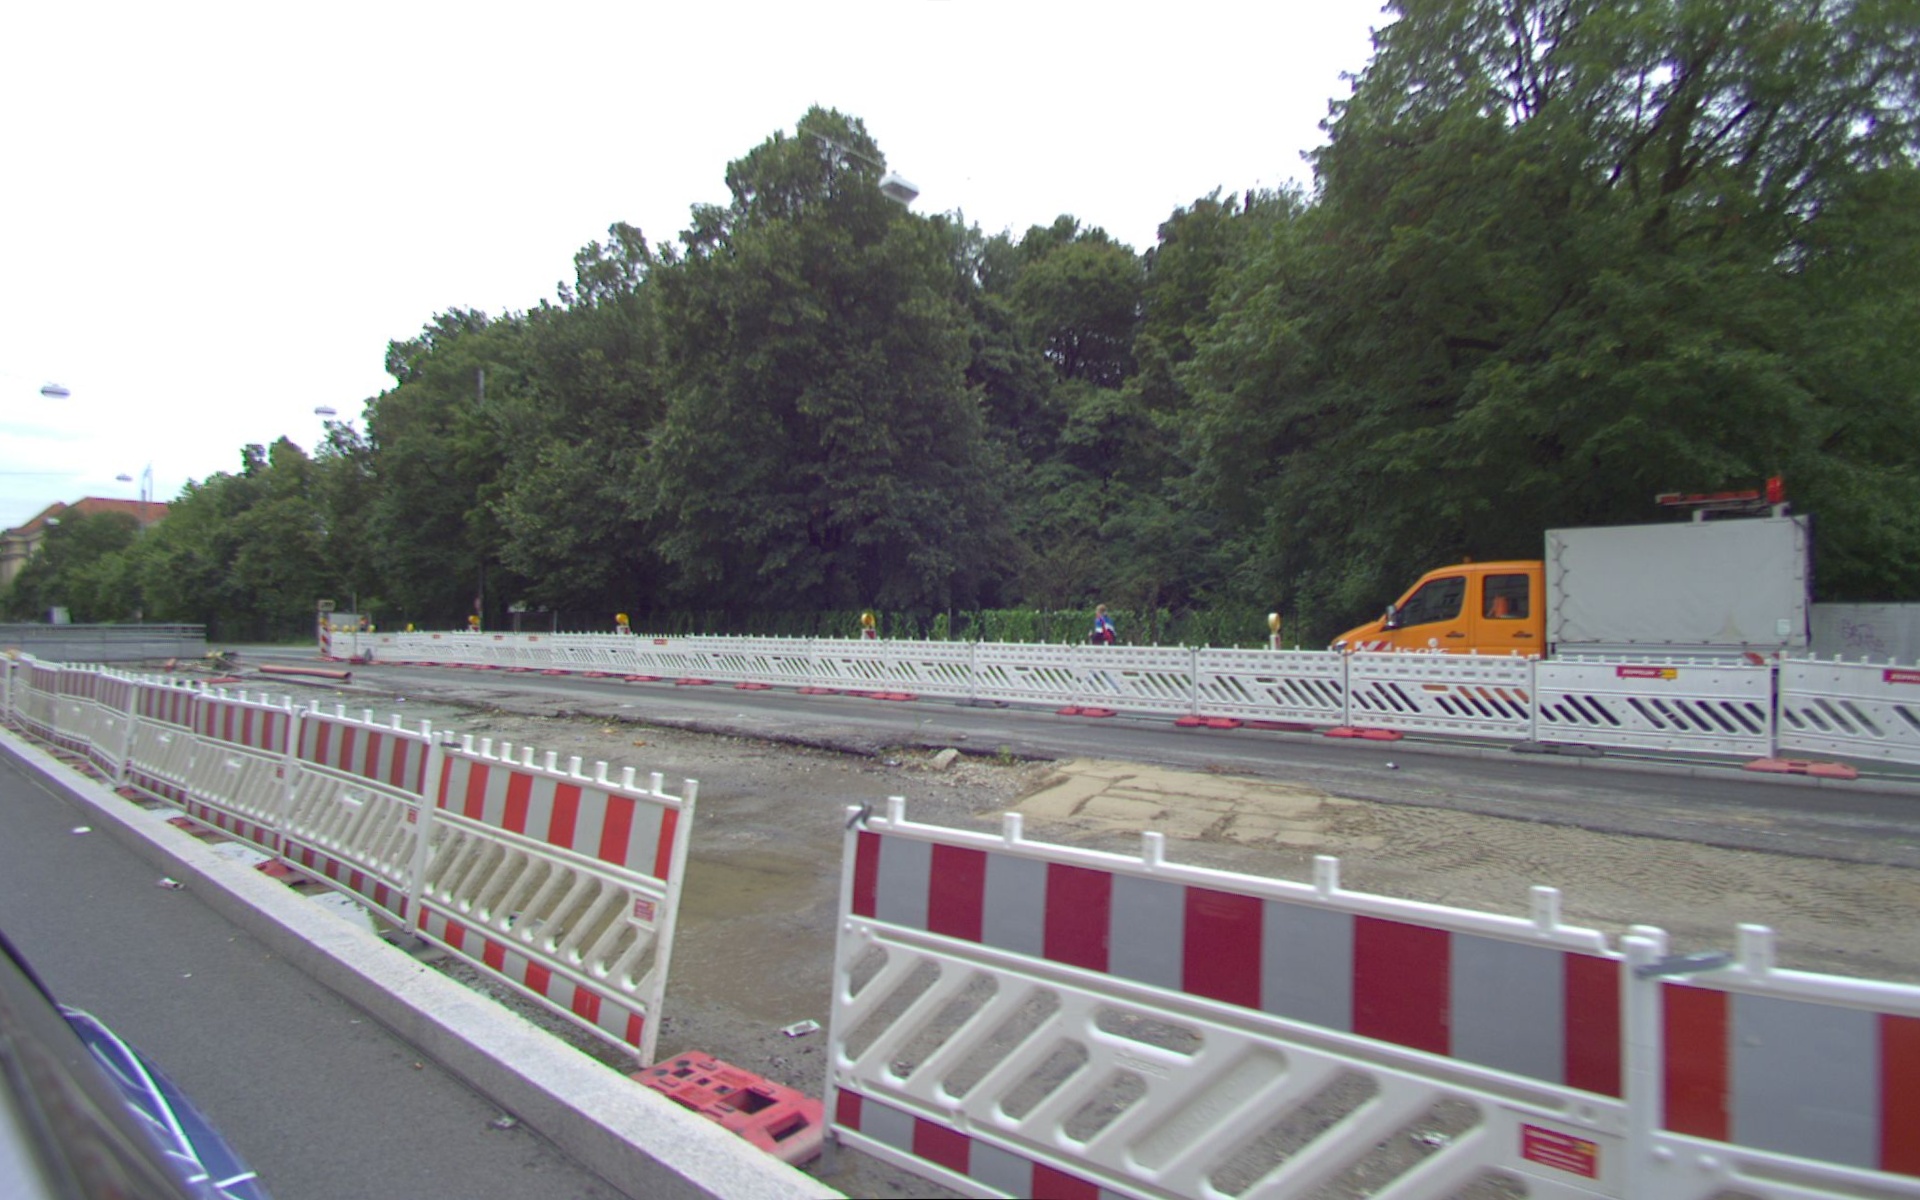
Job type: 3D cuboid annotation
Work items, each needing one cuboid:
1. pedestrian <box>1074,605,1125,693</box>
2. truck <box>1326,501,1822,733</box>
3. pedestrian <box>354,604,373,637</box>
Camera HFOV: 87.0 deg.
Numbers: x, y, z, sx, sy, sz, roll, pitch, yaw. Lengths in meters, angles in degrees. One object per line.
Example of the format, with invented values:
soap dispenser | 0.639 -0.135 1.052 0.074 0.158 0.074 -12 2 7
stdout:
pedestrian | 2.642 0.917 19.203 0.698 1.615 0.656 -2 -2 42
truck | 8.584 0.270 14.661 5.867 2.749 1.972 -2 -2 42
pedestrian | -30.112 1.058 51.079 0.698 1.653 0.656 -2 -2 42
